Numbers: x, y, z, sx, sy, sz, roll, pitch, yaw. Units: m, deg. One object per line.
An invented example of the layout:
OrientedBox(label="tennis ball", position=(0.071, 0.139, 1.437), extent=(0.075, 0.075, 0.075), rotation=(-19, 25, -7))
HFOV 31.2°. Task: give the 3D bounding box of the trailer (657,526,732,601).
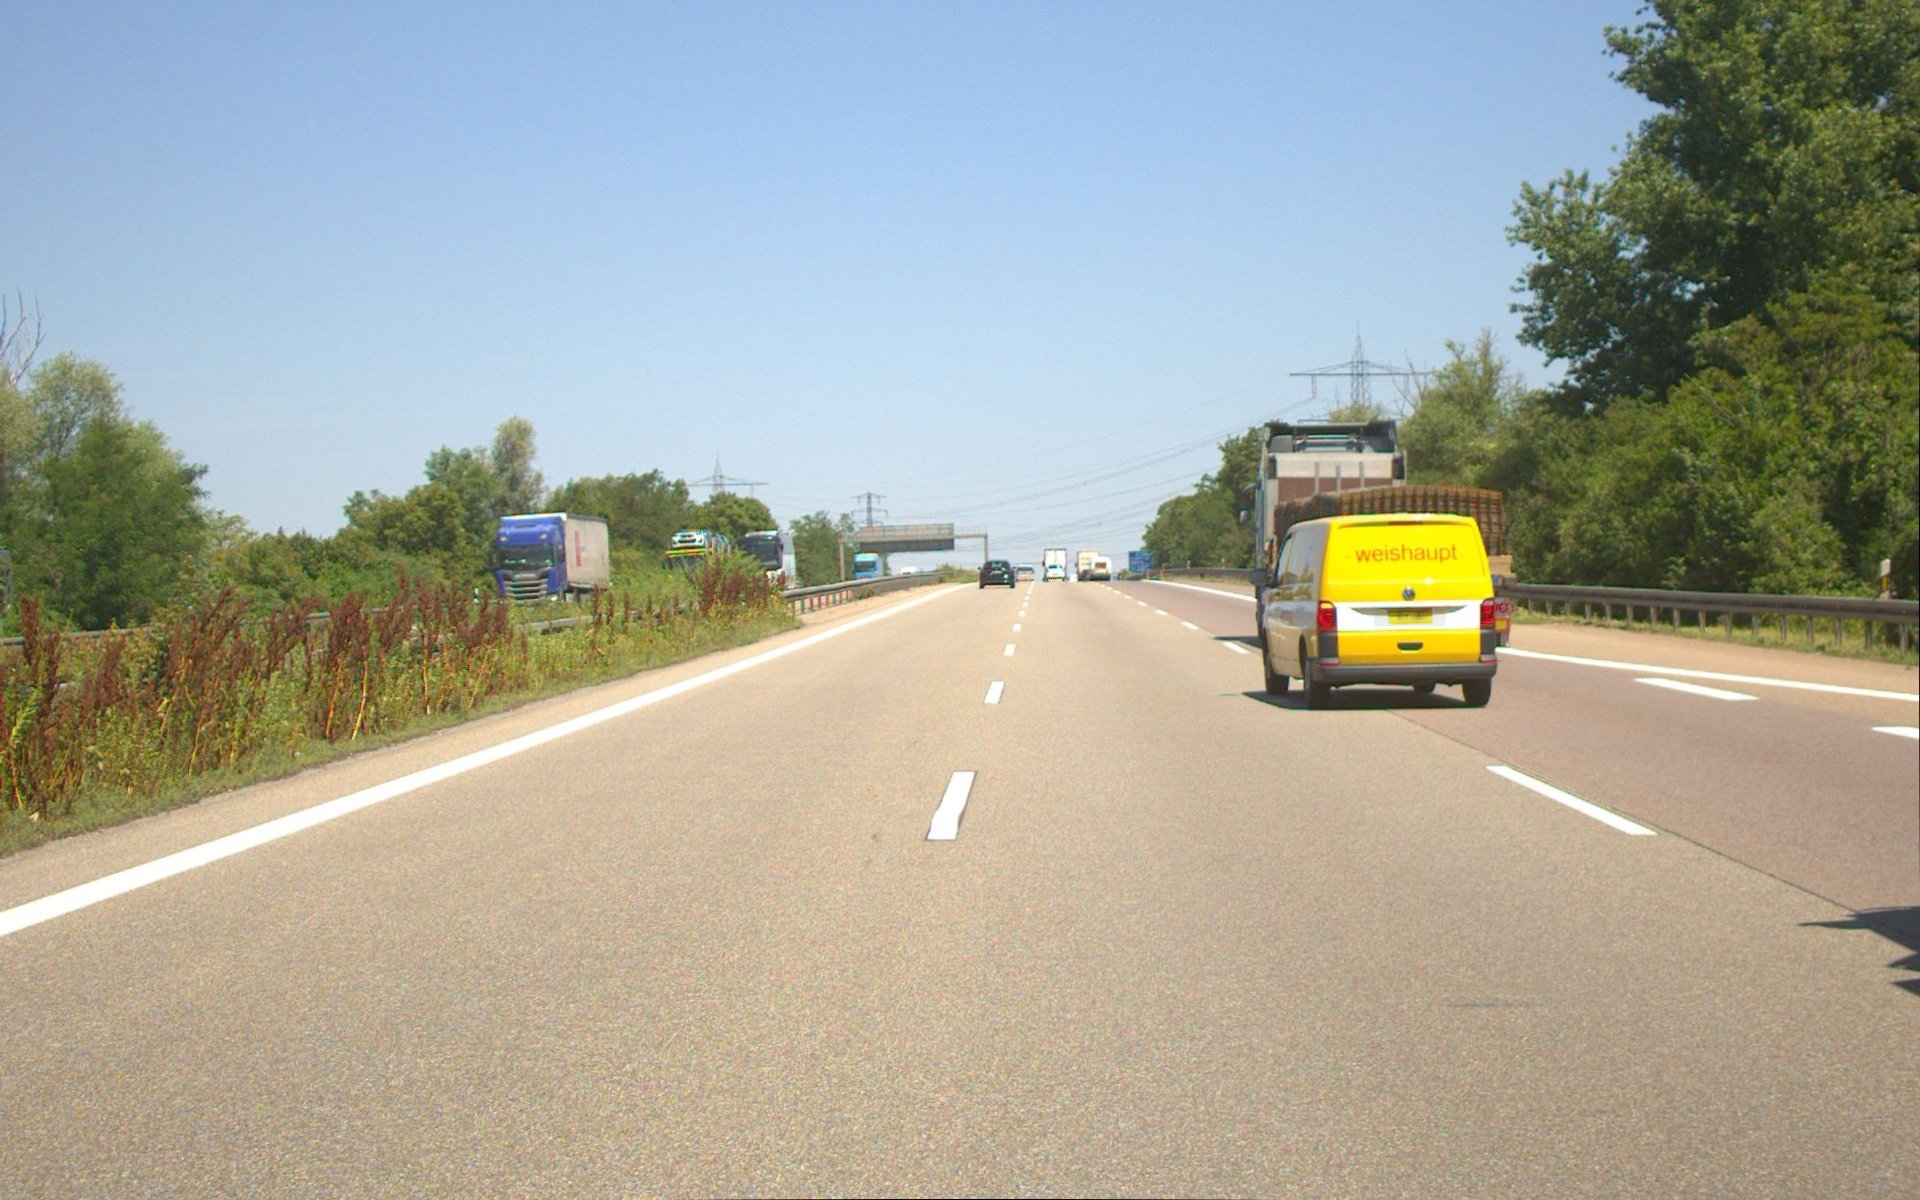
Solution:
OrientedBox(label="trailer", position=(-15.098, -2.096, 196.333), extent=(2.921, 3.954, 11.651), rotation=(-3, 1, 1))

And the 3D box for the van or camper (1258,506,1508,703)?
OrientedBox(label="van or camper", position=(4.332, 0.009, 35.934), extent=(1.993, 1.903, 4.971), rotation=(0, 1, 0))

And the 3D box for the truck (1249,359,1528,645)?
OrientedBox(label="truck", position=(6.625, -1.379, 55.869), extent=(2.969, 3.944, 16.612), rotation=(0, 0, 2))

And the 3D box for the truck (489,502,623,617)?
OrientedBox(label="truck", position=(-16.510, -1.667, 141.991), extent=(2.955, 4.327, 17.470), rotation=(-3, 1, 1))

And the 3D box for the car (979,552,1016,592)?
OrientedBox(label="car", position=(1.912, -1.418, 173.788), extent=(1.791, 2.007, 3.887), rotation=(0, 0, 2))
